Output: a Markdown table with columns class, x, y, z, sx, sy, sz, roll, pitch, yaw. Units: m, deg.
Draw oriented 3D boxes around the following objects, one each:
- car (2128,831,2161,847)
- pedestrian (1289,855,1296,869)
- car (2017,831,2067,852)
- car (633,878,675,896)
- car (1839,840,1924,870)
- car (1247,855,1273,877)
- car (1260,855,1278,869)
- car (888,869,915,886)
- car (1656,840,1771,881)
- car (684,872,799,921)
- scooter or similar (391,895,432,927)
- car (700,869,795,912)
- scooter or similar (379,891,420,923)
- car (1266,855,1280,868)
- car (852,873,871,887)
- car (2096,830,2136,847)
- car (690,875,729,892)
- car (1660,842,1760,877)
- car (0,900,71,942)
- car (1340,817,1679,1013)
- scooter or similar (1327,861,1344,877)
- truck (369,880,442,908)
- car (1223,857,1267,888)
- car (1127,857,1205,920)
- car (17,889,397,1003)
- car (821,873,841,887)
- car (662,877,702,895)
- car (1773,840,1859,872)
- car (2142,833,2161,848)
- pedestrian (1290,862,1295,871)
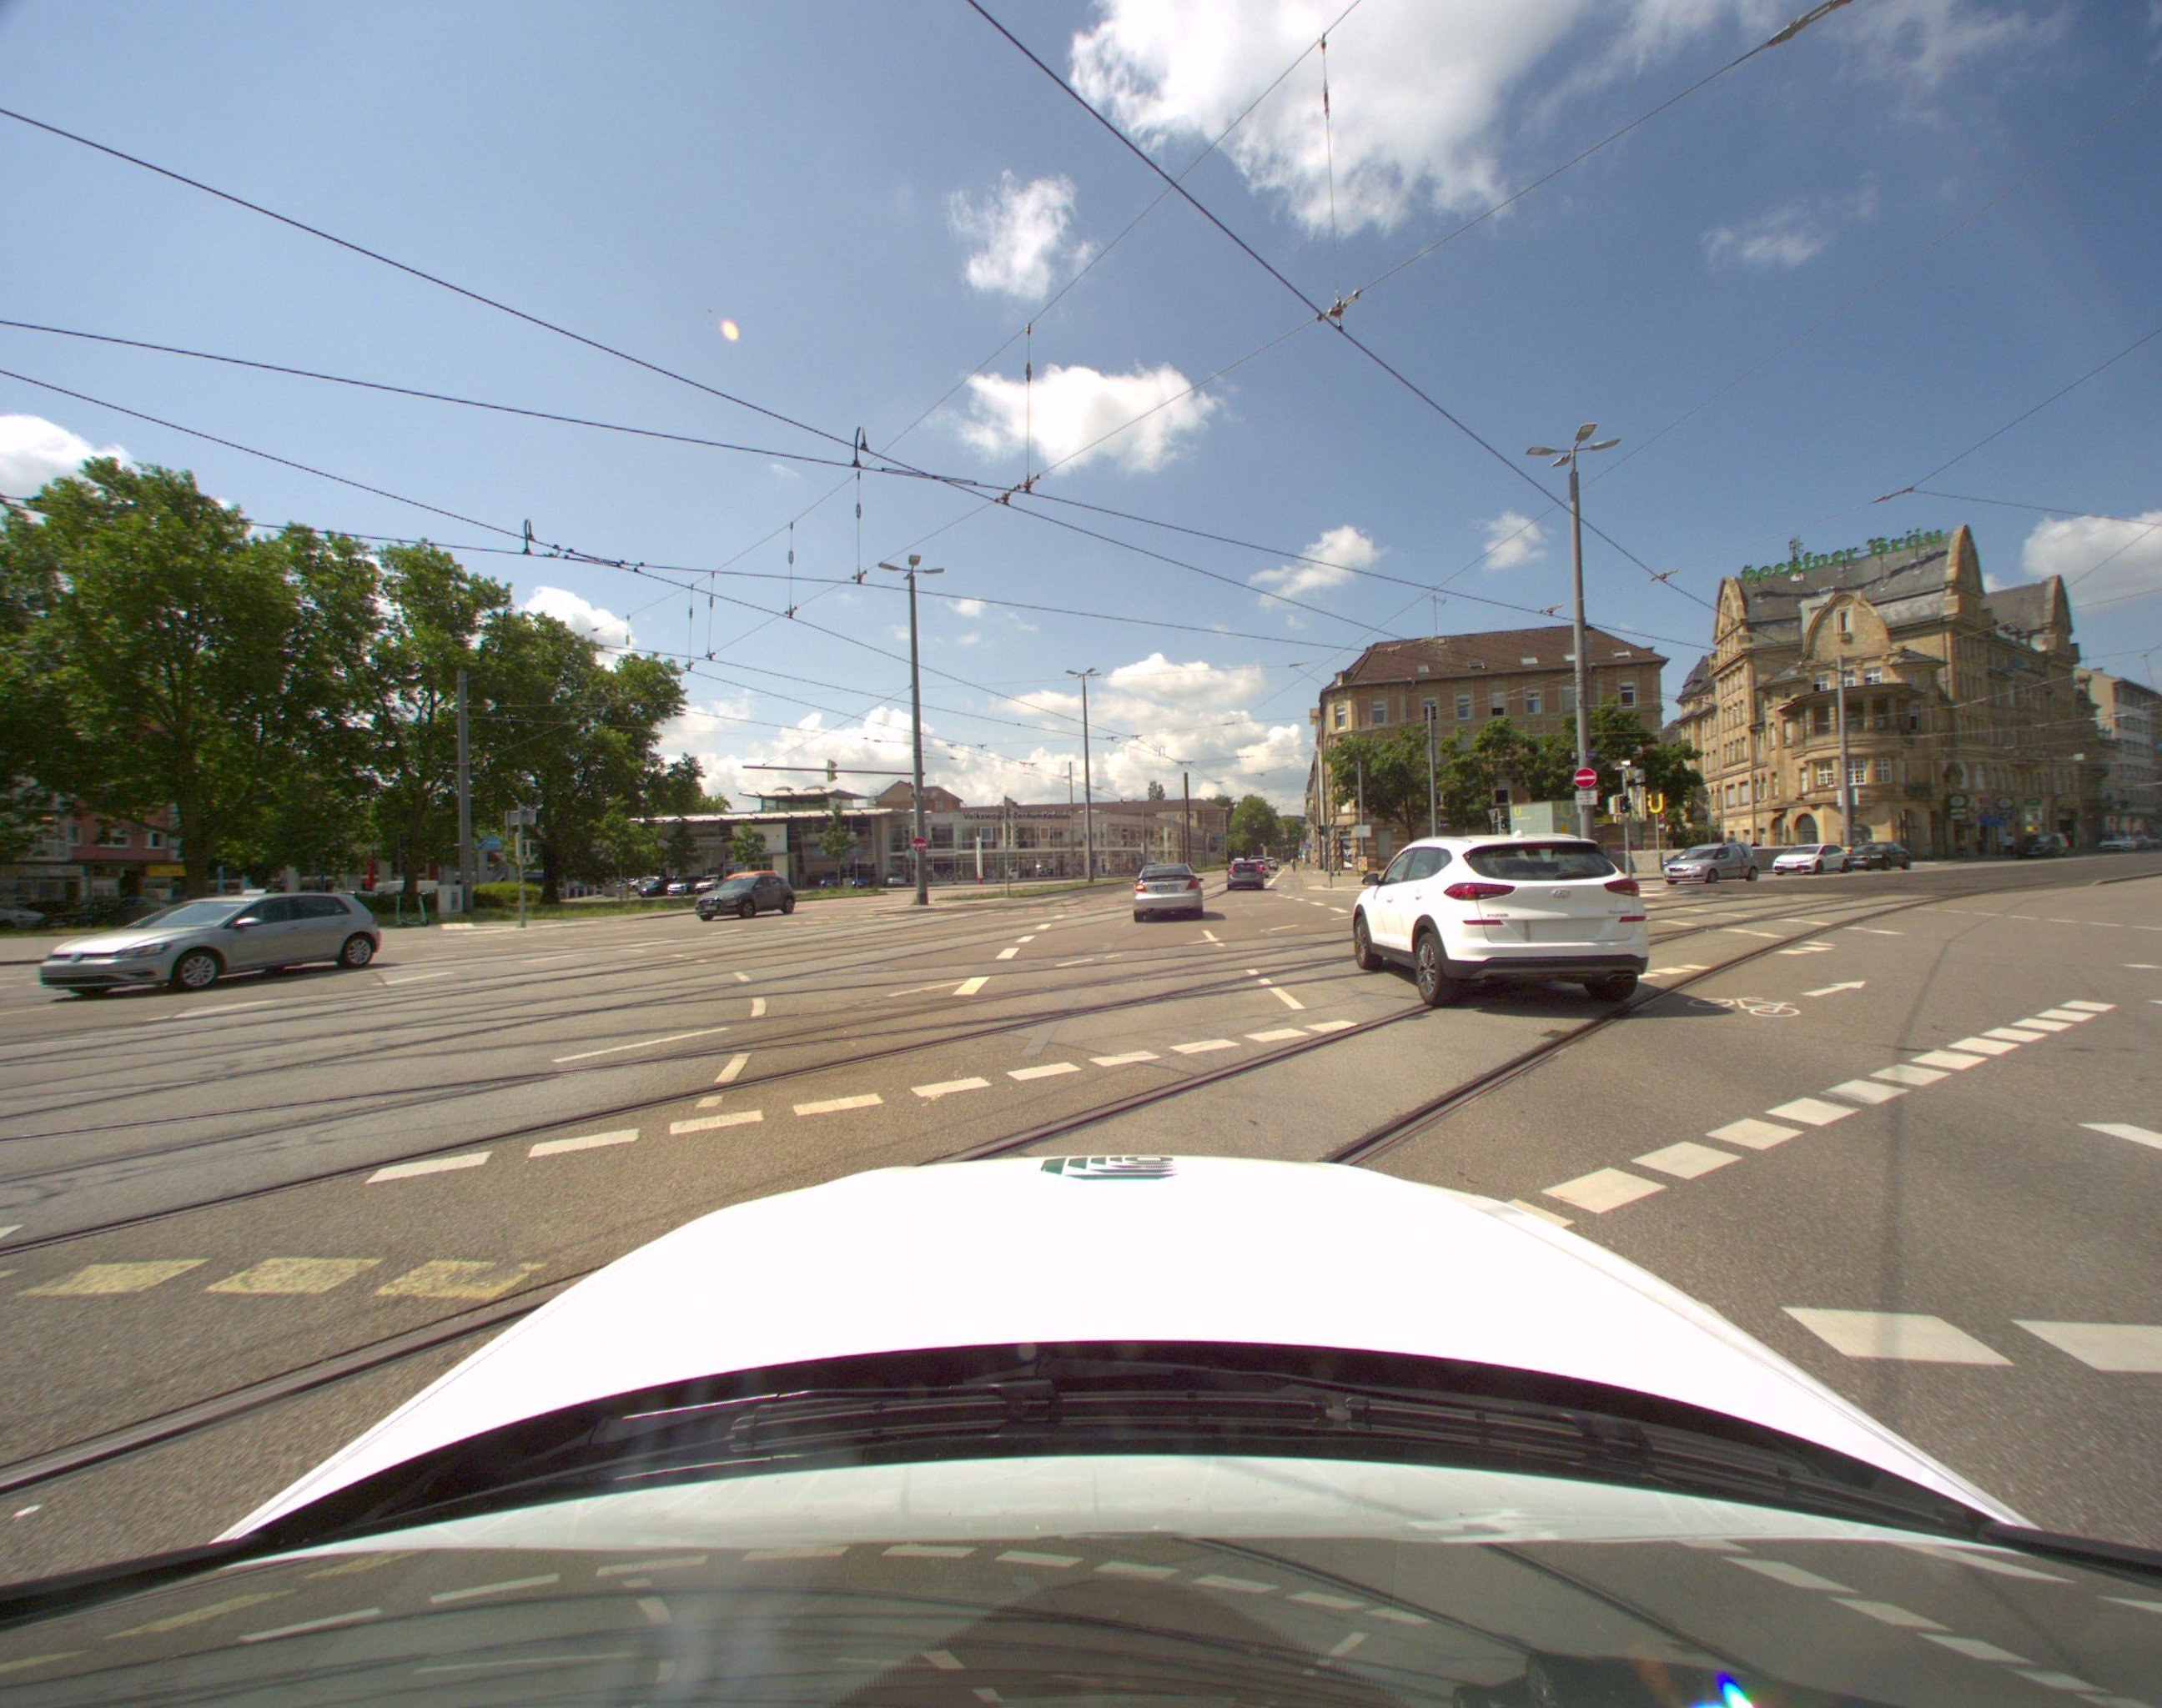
| class | x | y | z | sx | sy | sz | roll | pitch | yaw |
| --- | --- | --- | --- | --- | --- | --- | --- | --- | --- |
| car | 104.168 | -1.450 | 79.617 | 4.153 | 1.473 | 1.706 | -2 | -1 | -31 |
| pedestrian | 22.800 | 0.890 | 87.765 | 0.687 | 1.457 | 0.682 | -2 | -2 | 14 |
| car | 71.843 | -0.938 | 60.874 | 4.153 | 1.473 | 1.706 | -2 | -1 | -31 |
| car | -40.630 | 3.134 | 77.625 | 1.989 | 1.574 | 4.171 | -1 | -2 | -4 |
| car | 43.353 | 0.036 | 44.087 | 4.142 | 1.473 | 1.711 | -2 | -1 | -22 |
| car | 14.202 | 0.966 | 64.609 | 1.868 | 1.641 | 3.970 | -2 | -1 | 13 |
| car | 22.417 | 0.925 | 97.077 | 1.867 | 1.641 | 3.972 | -2 | -1 | 14 |
| car | -17.290 | 2.270 | 78.588 | 1.989 | 1.574 | 3.994 | -1 | -2 | -4 |
| car | 25.147 | 0.264 | 32.381 | 4.142 | 1.473 | 1.711 | -2 | -1 | -22 |
| car | -12.260 | 1.503 | 29.704 | 1.706 | 1.531 | 4.136 | -2 | -1 | 13 |
| scooter or similar | -24.110 | 2.058 | 29.350 | 0.375 | 1.116 | 1.100 | -2 | -2 | 18 |
| car | -15.659 | 1.664 | 38.541 | 1.706 | 1.800 | 4.755 | -3 | -1 | 12 |
| scooter or similar | -24.729 | 1.903 | 29.557 | 0.375 | 1.116 | 1.100 | -2 | -2 | 18 |
| car | 26.919 | 1.026 | 114.077 | 1.867 | 1.641 | 3.972 | -2 | -1 | 14 |
| car | -20.605 | 2.419 | 76.524 | 1.651 | 1.251 | 3.979 | 0 | -2 | -15 |
| car | 93.855 | -1.399 | 73.815 | 4.153 | 1.473 | 1.706 | -2 | -1 | -31 |
| car | -35.348 | 2.816 | 77.547 | 1.989 | 1.574 | 4.171 | -1 | -2 | -4 |
| car | 28.839 | 0.258 | 37.332 | 4.142 | 1.473 | 1.711 | -2 | -1 | -22 |
| car | -51.480 | 3.188 | 38.558 | 4.107 | 1.859 | 1.972 | 0 | -2 | -17 |
| car | 4.353 | 0.552 | 9.139 | 1.872 | 1.641 | 4.239 | -2 | -1 | 6 |
| scooter or similar | 18.339 | 1.066 | 58.708 | 1.529 | 1.174 | 0.378 | 1 | -3 | -39 |
| truck | -56.227 | 3.291 | 67.899 | 1.796 | 2.120 | 4.783 | -2 | -1 | 3 |
| car | 8.233 | 0.890 | 41.121 | 1.871 | 1.419 | 3.965 | -2 | -1 | 8 |
| car | 2.305 | 0.824 | 21.128 | 1.731 | 1.392 | 4.189 | -3 | -1 | 9 |
| car | -14.283 | 1.402 | 13.758 | 1.646 | 1.434 | 4.274 | -2 | -1 | 3 |
| car | -23.617 | 2.489 | 76.930 | 1.651 | 1.251 | 3.979 | 0 | -2 | -15 |
| car | -37.966 | 3.045 | 77.654 | 1.989 | 1.574 | 4.171 | -1 | -2 | -4 |
| car | 37.447 | 0.090 | 41.487 | 4.146 | 1.473 | 1.709 | -2 | -1 | -25 |
| car | 109.611 | -1.393 | 82.743 | 4.153 | 1.473 | 1.706 | -2 | -1 | -31 |
| pedestrian | 22.787 | 1.340 | 87.662 | 0.521 | 0.907 | 1.566 | -2 | -2 | 14 |
